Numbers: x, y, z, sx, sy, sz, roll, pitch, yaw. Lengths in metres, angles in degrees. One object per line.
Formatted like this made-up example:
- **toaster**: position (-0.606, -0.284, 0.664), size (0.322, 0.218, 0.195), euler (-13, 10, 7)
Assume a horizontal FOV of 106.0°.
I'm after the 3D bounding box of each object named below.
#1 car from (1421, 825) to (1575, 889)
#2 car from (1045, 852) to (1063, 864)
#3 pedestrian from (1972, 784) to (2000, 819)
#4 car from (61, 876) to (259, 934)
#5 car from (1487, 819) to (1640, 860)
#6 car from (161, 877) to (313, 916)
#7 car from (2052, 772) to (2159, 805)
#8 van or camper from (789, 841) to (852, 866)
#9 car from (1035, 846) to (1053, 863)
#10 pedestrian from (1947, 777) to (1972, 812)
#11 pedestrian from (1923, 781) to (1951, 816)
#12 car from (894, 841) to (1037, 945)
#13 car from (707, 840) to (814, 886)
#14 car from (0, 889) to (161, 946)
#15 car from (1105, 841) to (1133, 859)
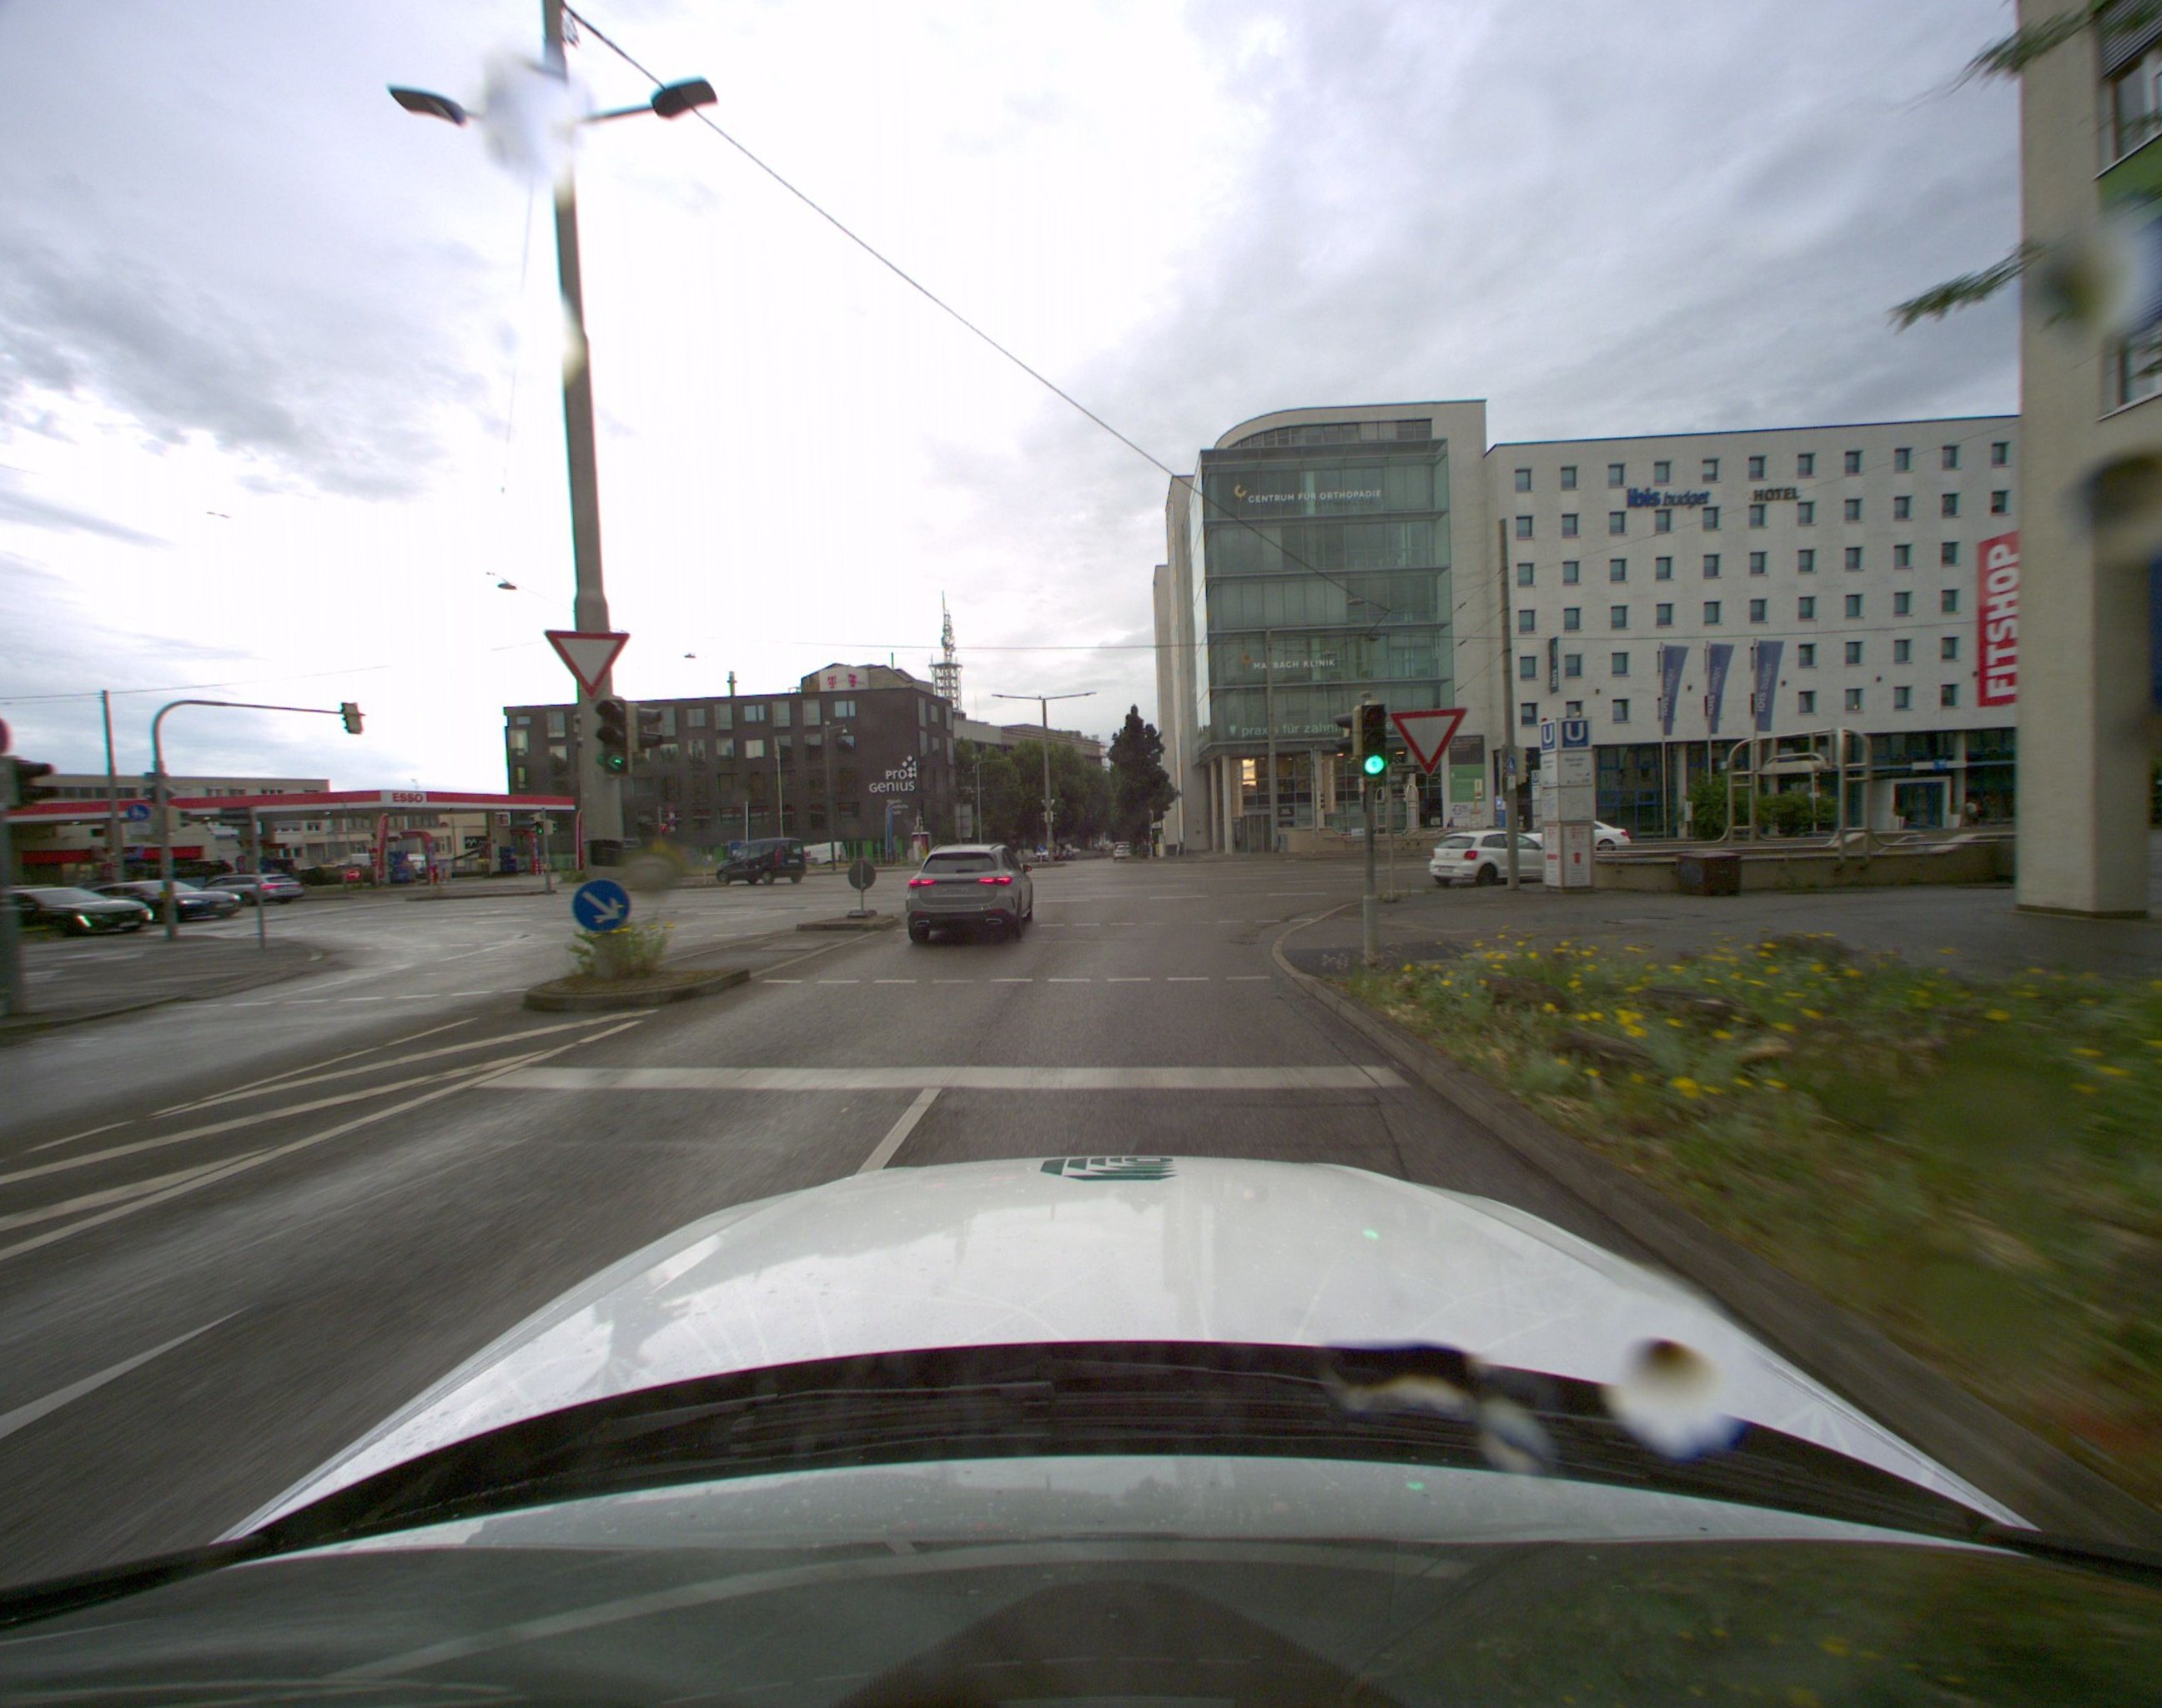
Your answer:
- **car**: position (11.278, 0.021, 22.034), size (3.783, 1.473, 1.664), euler (-3, 3, -22)
- **car**: position (-3.618, 0.499, 109.204), size (1.669, 1.594, 3.866), euler (0, 0, 8)
- **pedestrian**: position (53.579, -3.110, 48.215), size (0.889, 2.013, 0.820), euler (0, 0, 31)
- **car**: position (-30.506, 1.668, 27.078), size (4.232, 1.525, 1.967), euler (-3, 3, 1)
- **car**: position (18.955, -0.593, 32.140), size (4.929, 1.387, 1.824), euler (-2, 2, 1)
- **car**: position (-38.423, 1.899, 37.207), size (4.476, 1.579, 1.994), euler (-1, 0, -10)
- **car**: position (73.504, -4.681, 58.565), size (1.879, 2.013, 4.731), euler (0, 0, 2)
- **van or camper**: position (-25.738, -0.060, 80.741), size (5.310, 2.368, 2.740), euler (0, 0, 1)
- **car**: position (-4.678, 0.055, 103.719), size (1.986, 2.013, 4.002), euler (0, 0, 2)
- **pedestrian**: position (52.266, -3.511, 48.450), size (0.806, 2.013, 0.808), euler (0, 0, -26)
- **pedestrian**: position (50.831, -3.290, 48.342), size (0.809, 2.013, 0.805), euler (0, 0, 3)
- **car**: position (-1.956, 0.591, 15.041), size (1.901, 1.632, 4.212), euler (-1, 1, 2)
- **car**: position (-13.135, 0.362, 33.324), size (4.078, 1.768, 1.870), euler (-1, 1, 29)
- **car**: position (-29.589, 1.843, 23.578), size (3.971, 1.320, 1.652), euler (-2, 3, 2)
- **car**: position (3.634, -0.405, 78.195), size (1.992, 1.717, 3.990), euler (0, 0, -7)
